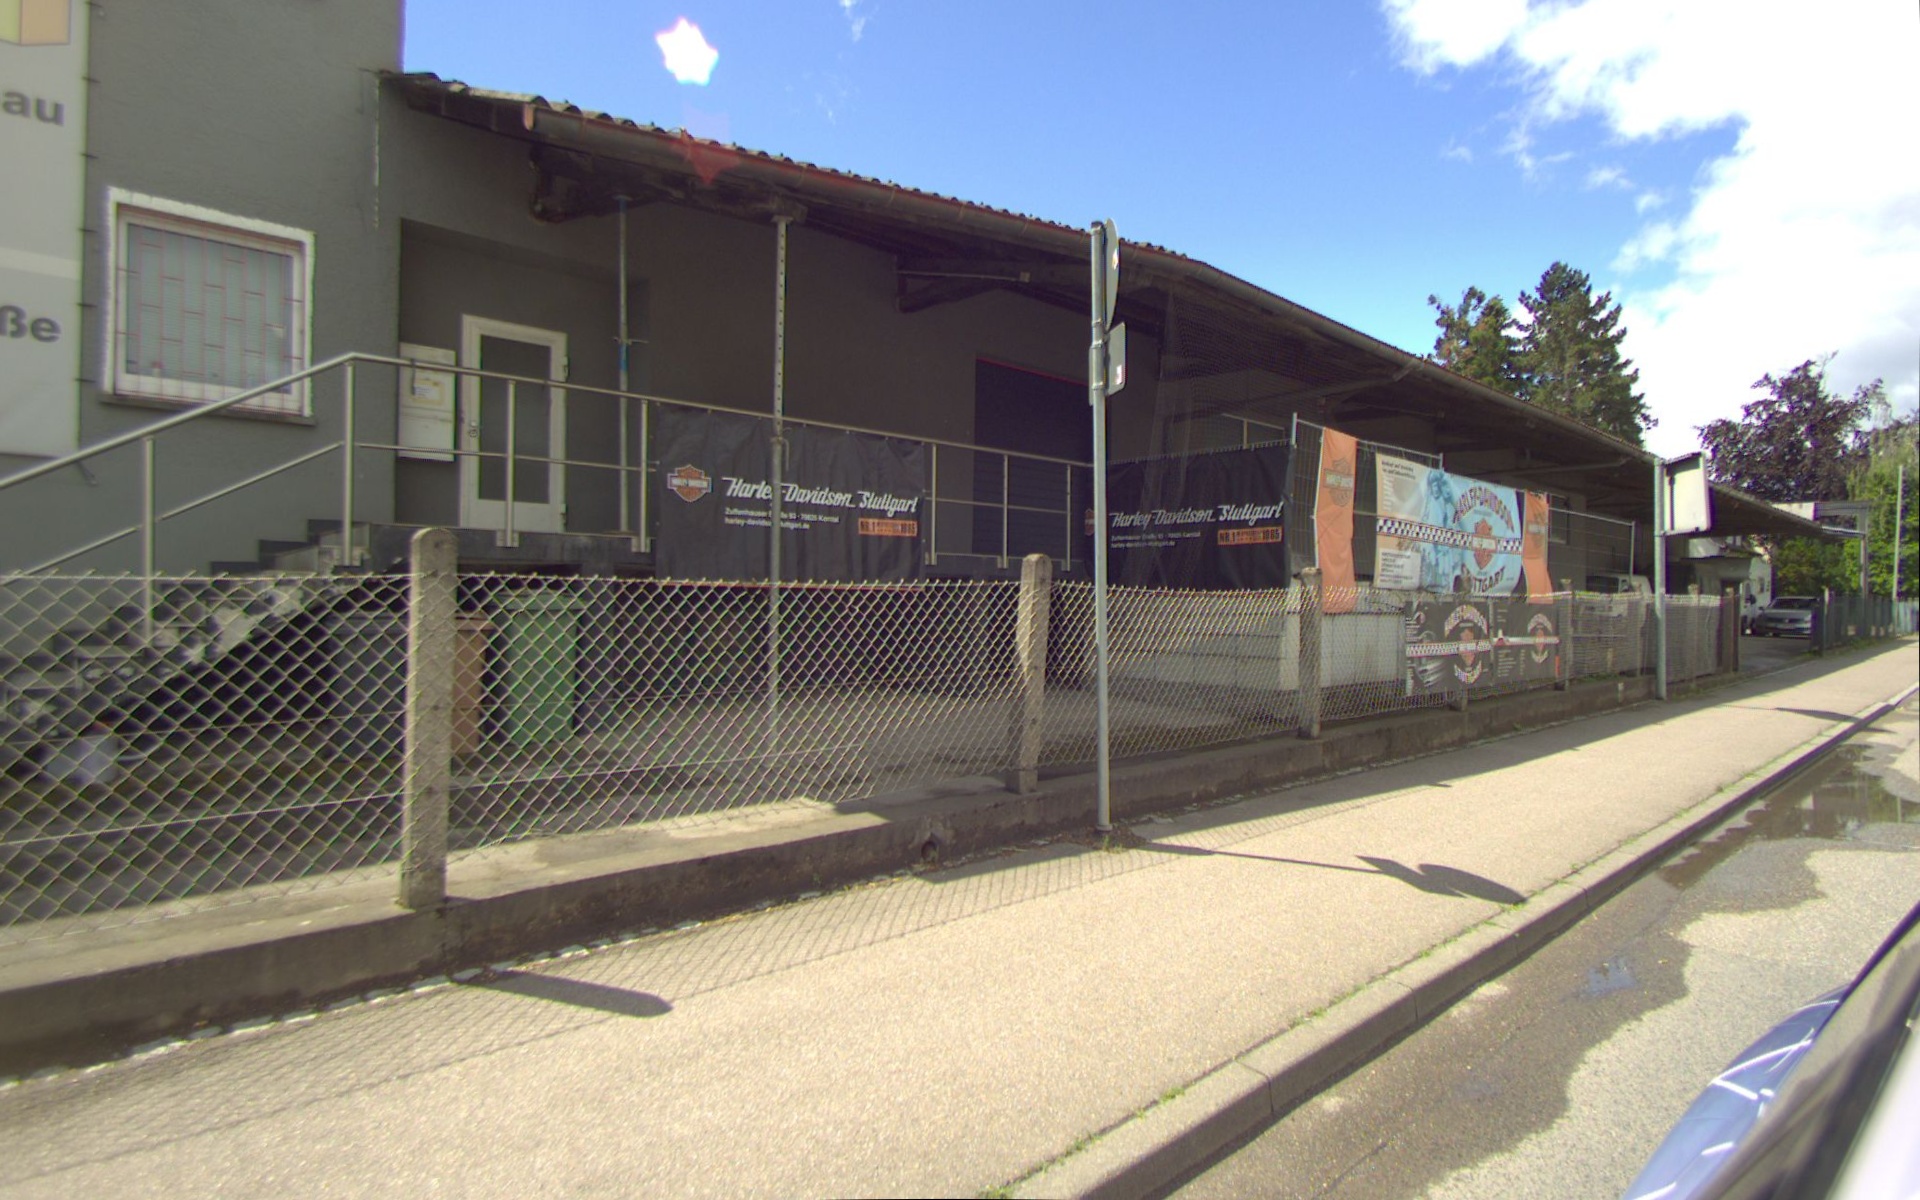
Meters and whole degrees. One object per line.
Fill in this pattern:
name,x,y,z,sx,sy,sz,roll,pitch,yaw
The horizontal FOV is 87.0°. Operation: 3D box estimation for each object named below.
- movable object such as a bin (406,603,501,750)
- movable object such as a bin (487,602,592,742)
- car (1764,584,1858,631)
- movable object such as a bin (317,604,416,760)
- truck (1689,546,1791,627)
movable object such as a bin,-3.438,0.496,6.864,0.466,0.942,0.482,0,0,-42
movable object such as a bin,-3.014,0.490,7.255,0.574,0.942,0.482,0,0,-42
car,29.860,0.220,35.446,5.114,1.549,1.860,-1,1,-42
movable object such as a bin,-3.821,0.501,6.514,0.466,0.942,0.482,0,0,-42
truck,29.513,-0.520,38.234,5.112,2.864,2.089,-1,0,-41
